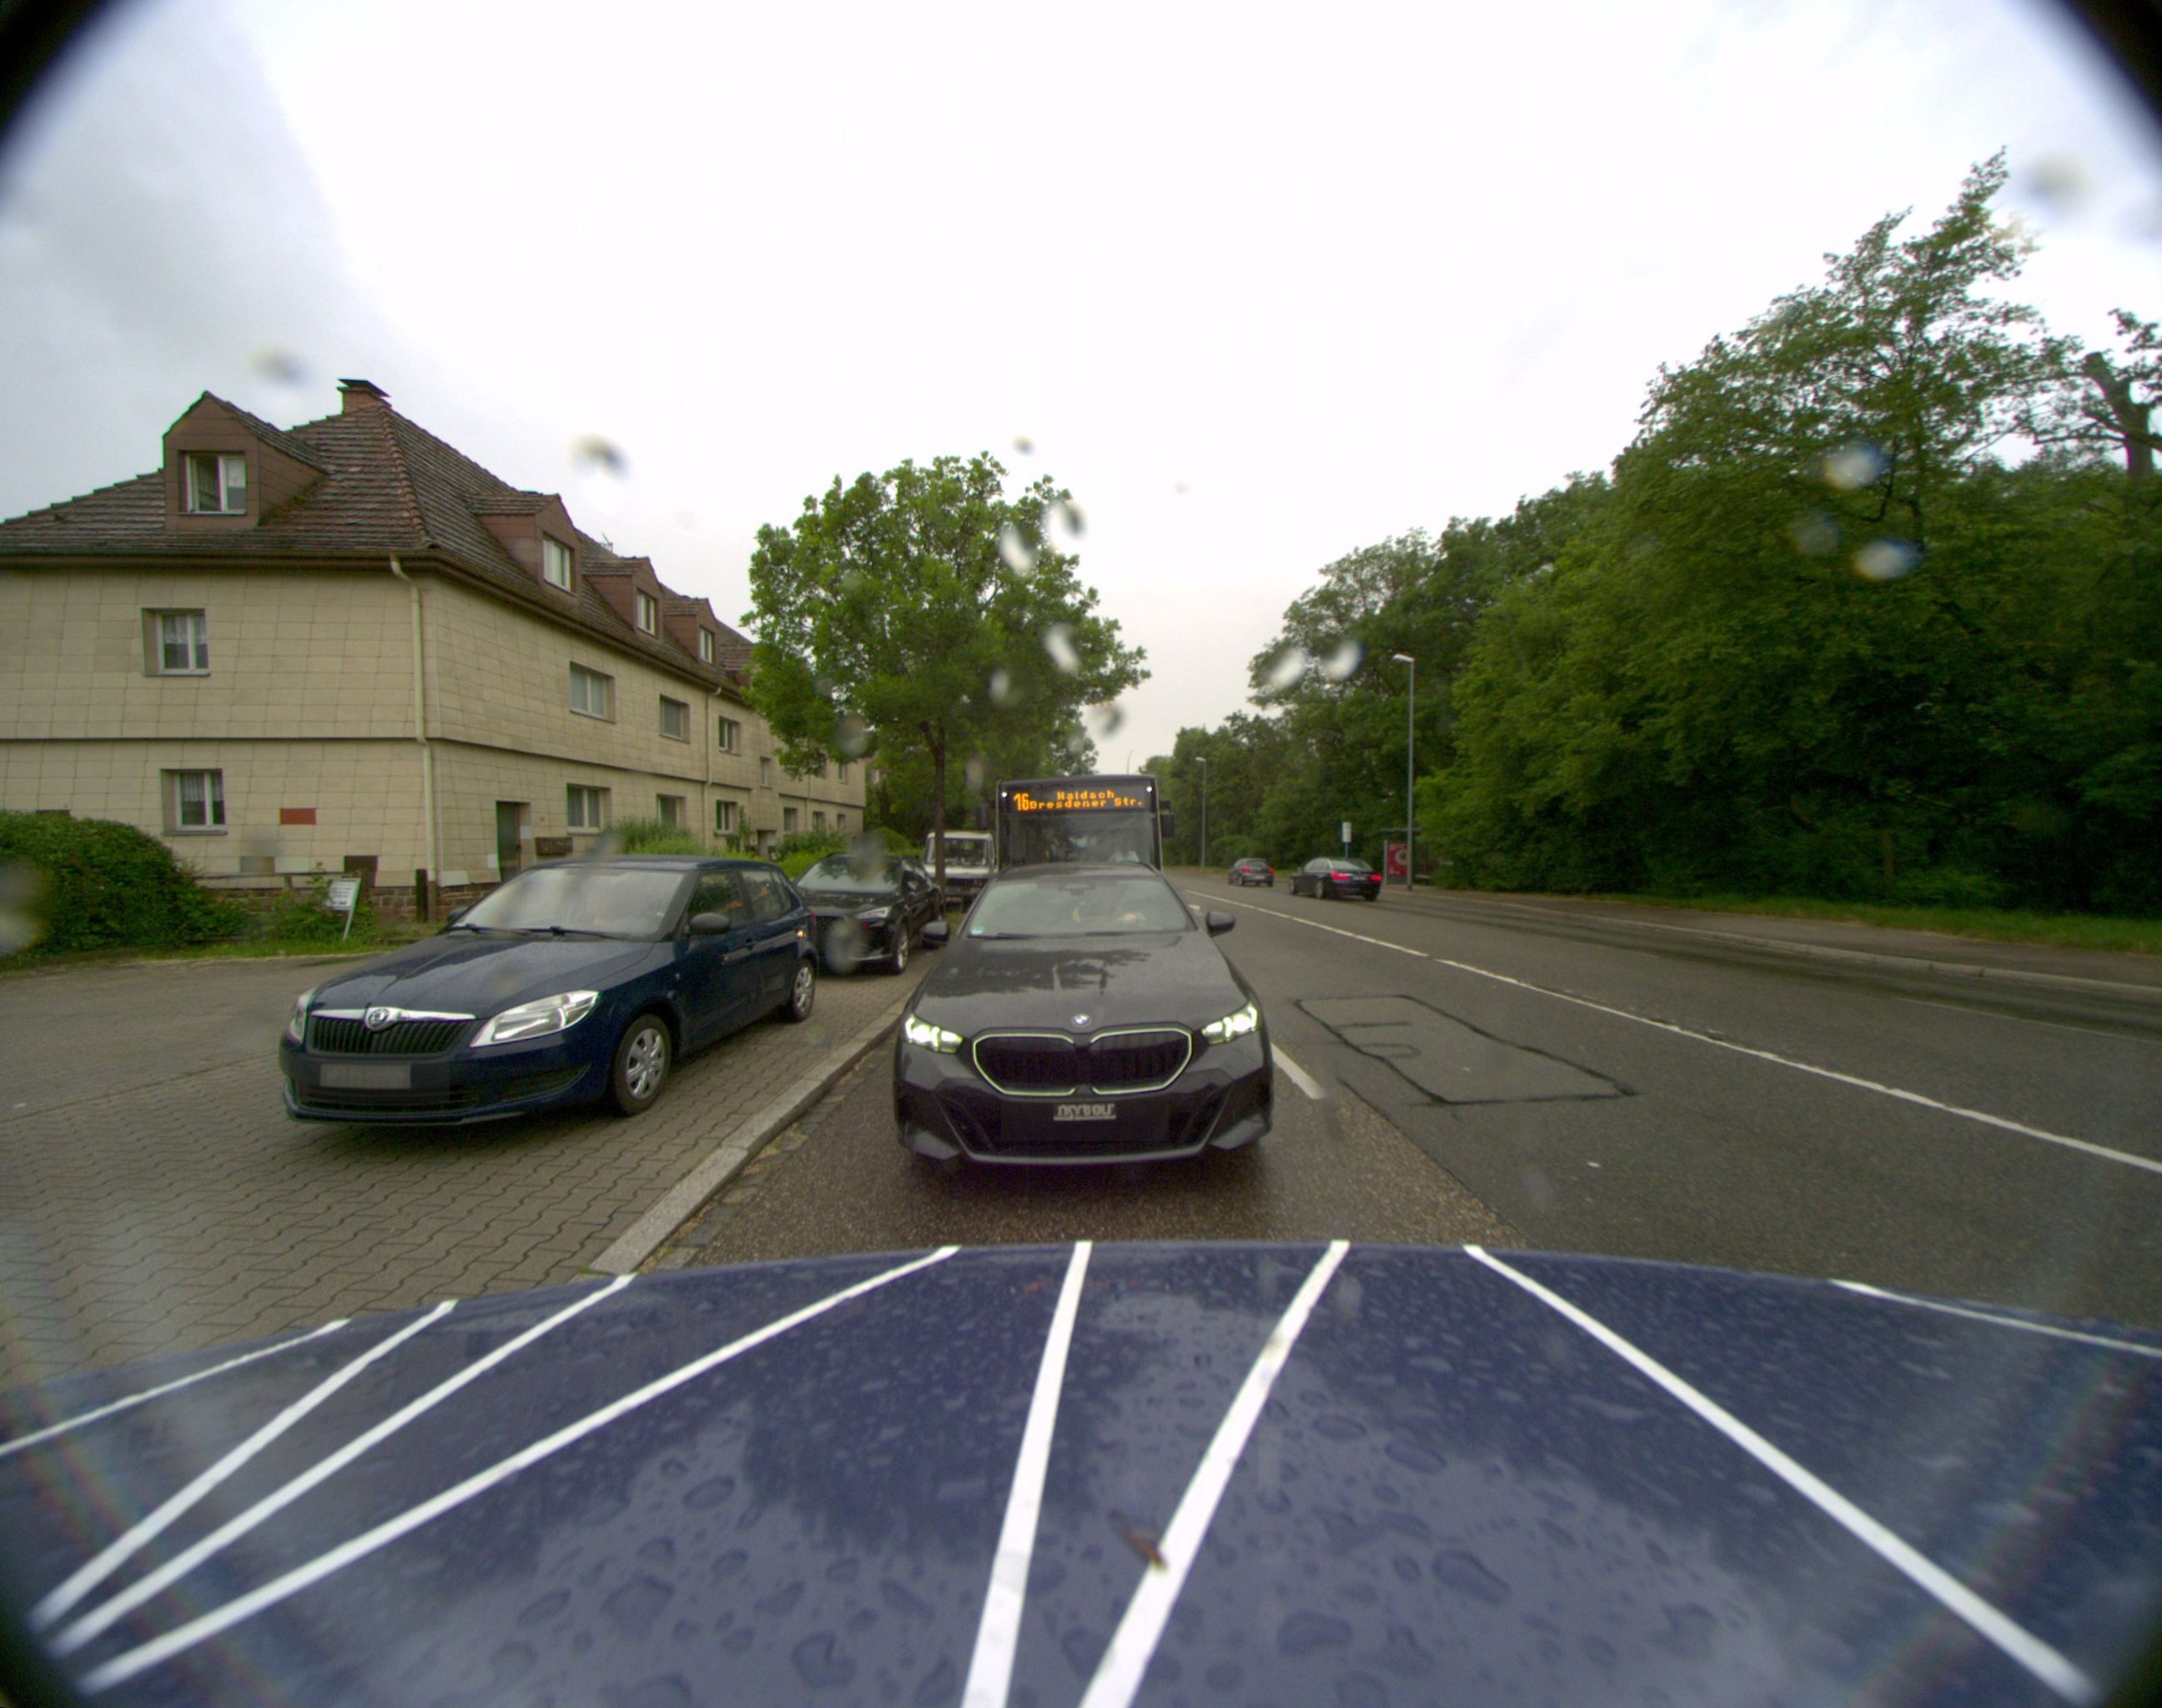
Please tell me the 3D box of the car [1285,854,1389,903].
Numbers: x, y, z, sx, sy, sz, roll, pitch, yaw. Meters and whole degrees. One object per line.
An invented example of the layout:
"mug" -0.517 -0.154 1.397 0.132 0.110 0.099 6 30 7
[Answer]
"car" 9.002 0.805 27.237 1.915 1.445 4.947 3 1 -1

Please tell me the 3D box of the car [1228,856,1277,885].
"car" 8.893 0.823 39.653 1.598 1.420 3.905 1 0 -1

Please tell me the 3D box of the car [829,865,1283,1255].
"car" -0.081 0.927 5.438 1.882 1.520 4.316 -3 0 1

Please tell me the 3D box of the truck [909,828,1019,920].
"truck" -3.019 0.484 20.989 1.998 2.184 5.756 0 0 2

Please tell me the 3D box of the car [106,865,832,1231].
"car" -3.263 0.857 5.229 1.720 1.416 3.999 1 1 1

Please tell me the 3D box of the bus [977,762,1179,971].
"bus" 0.083 0.124 15.465 2.767 2.858 9.403 -2 1 2

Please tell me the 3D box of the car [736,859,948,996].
"car" -3.065 0.850 10.621 1.720 1.455 3.999 1 1 -1
